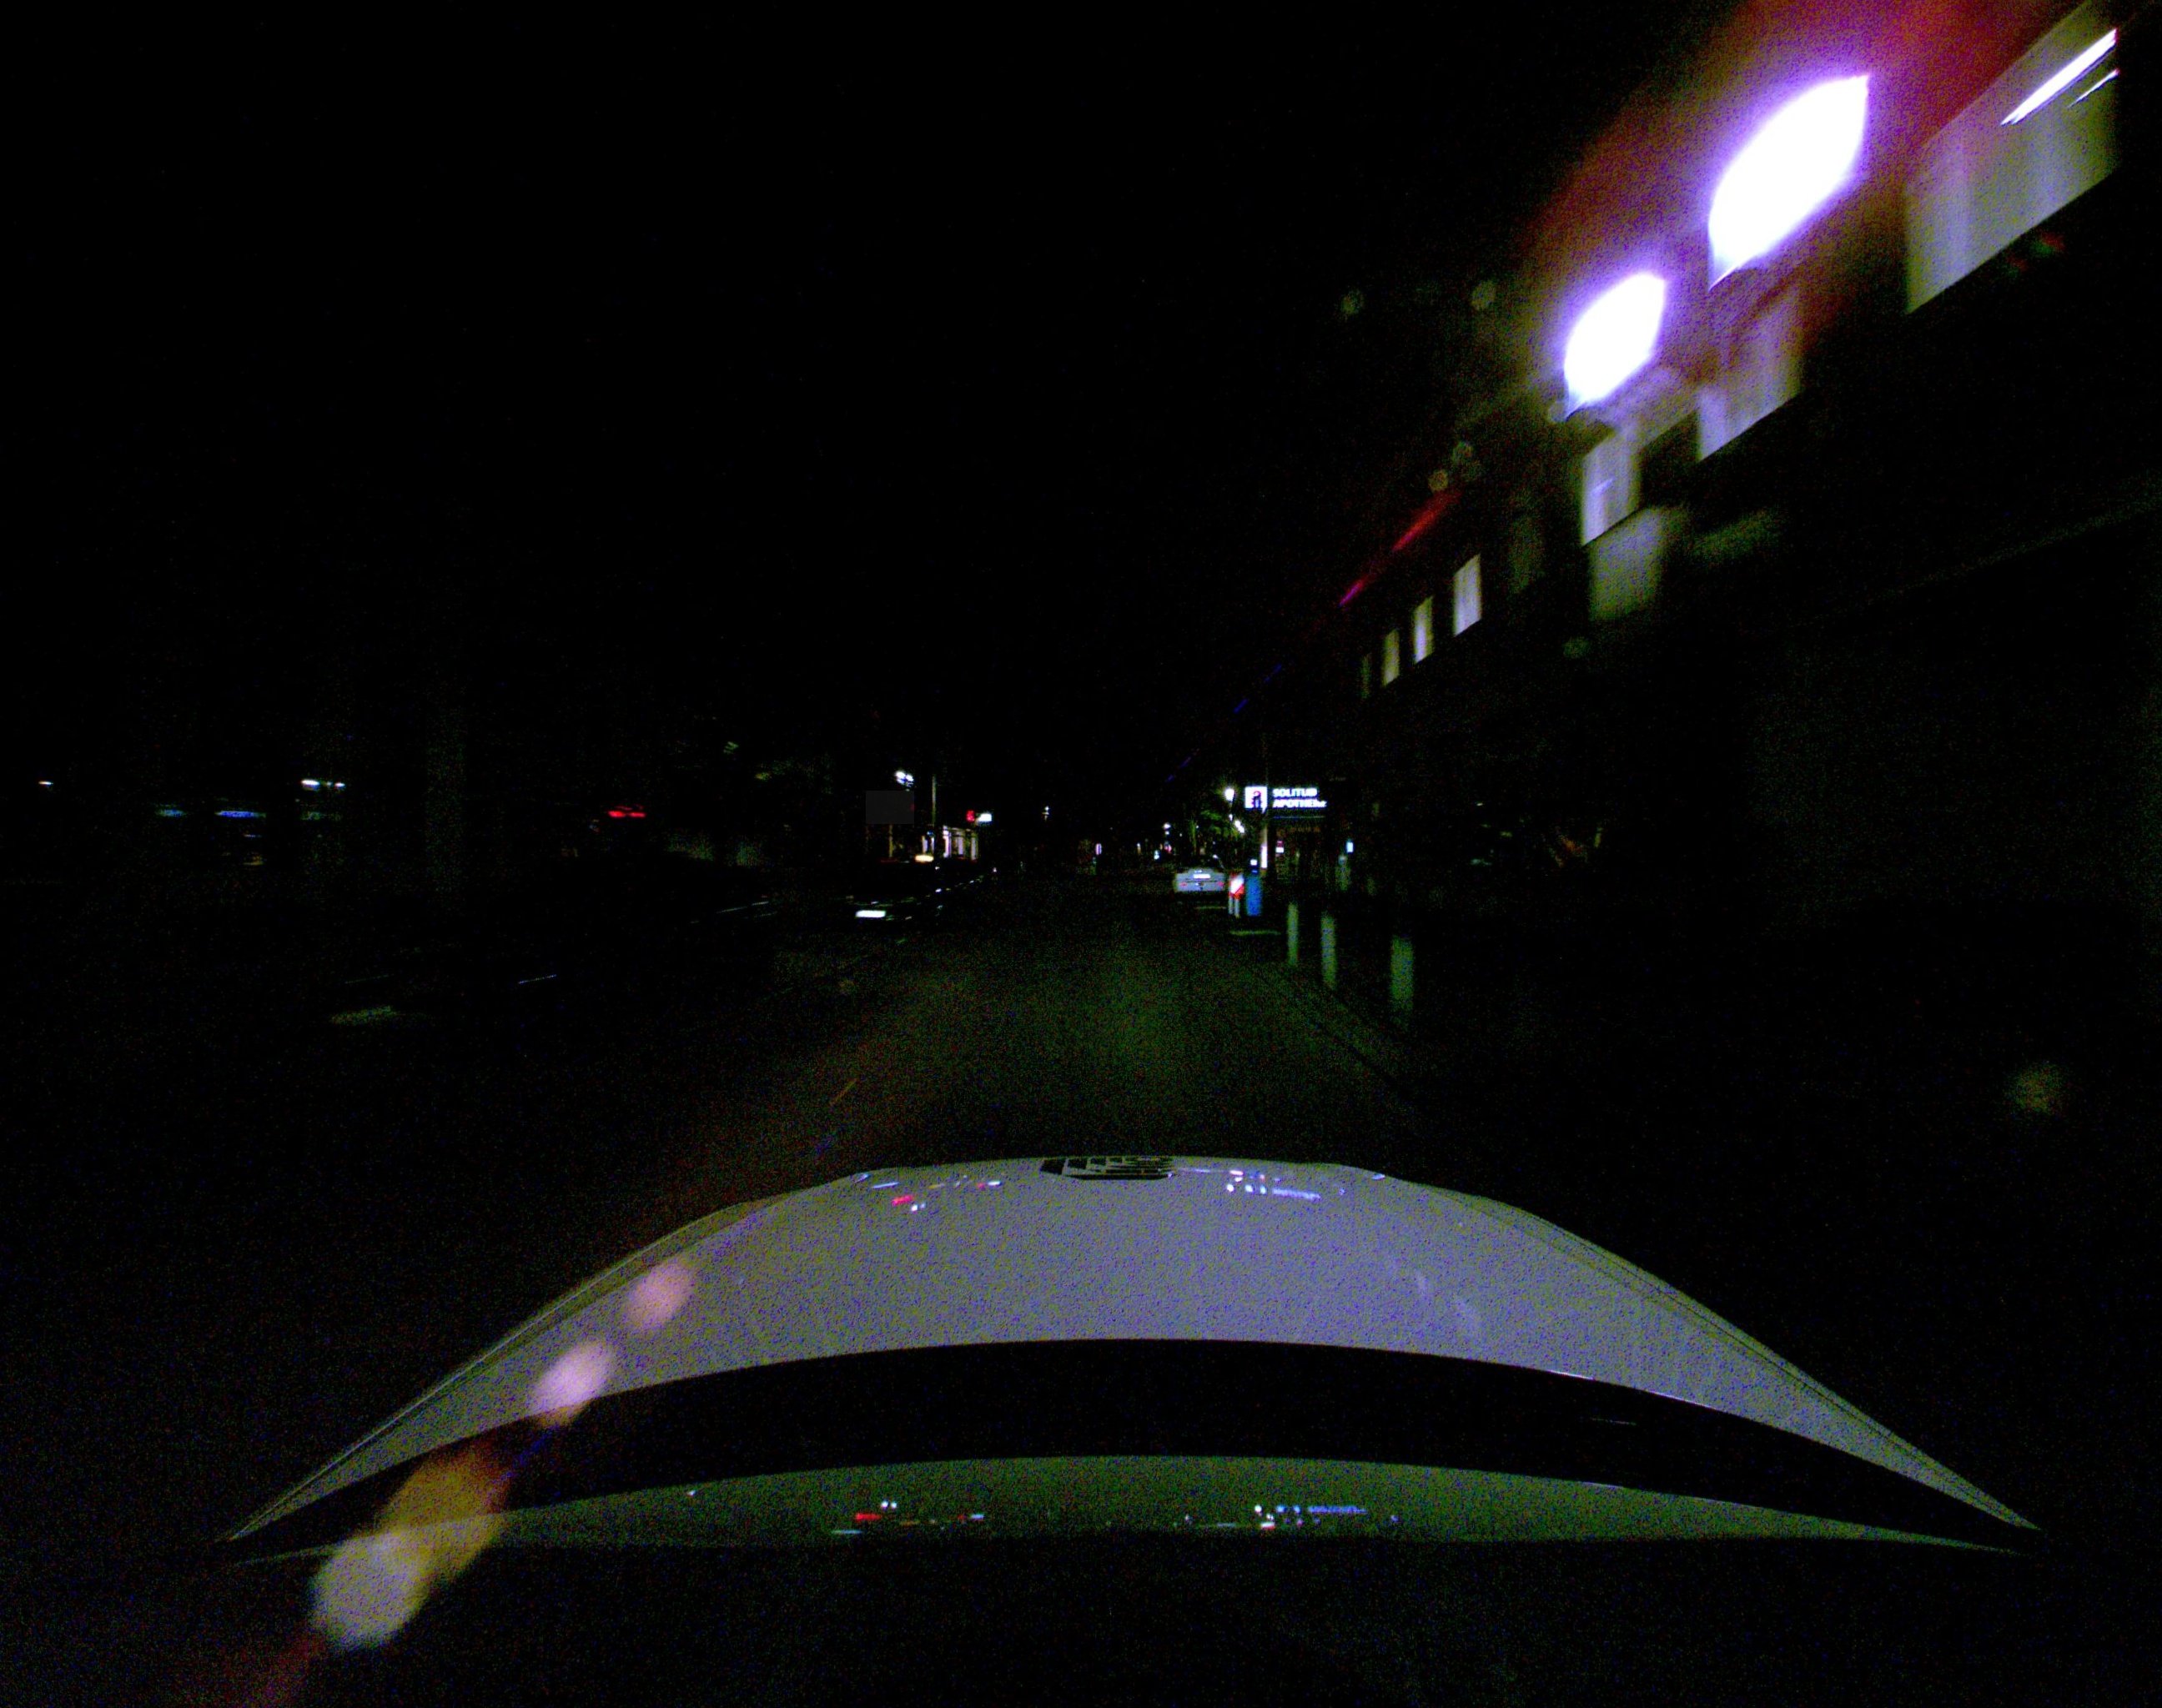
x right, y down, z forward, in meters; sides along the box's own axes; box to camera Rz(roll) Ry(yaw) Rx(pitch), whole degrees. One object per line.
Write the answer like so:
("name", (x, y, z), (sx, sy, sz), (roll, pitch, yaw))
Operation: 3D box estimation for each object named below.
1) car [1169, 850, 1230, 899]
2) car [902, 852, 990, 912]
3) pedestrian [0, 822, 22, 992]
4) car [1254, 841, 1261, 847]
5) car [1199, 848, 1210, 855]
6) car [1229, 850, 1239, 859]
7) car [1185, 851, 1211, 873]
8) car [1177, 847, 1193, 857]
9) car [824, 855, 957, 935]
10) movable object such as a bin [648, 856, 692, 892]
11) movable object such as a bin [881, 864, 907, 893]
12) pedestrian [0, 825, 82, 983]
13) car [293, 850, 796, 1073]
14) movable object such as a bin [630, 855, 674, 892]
("car", (3.926, 0.678, 27.600), (1.734, 1.487, 4.642), (-1, -1, 5))
("car", (-4.028, 0.768, 25.054), (1.752, 1.637, 4.816), (-1, 0, 1))
("pedestrian", (-11.887, 0.573, 8.760), (0.496, 1.822, 0.506), (-2, -1, 27))
("car", (51.480, -2.908, 237.265), (1.762, 1.652, 4.381), (-1, 1, 14))
("car", (28.488, -0.624, 187.378), (1.900, 1.370, 4.475), (-1, 1, 15))
("car", (25.880, 0.066, 137.761), (1.664, 1.459, 3.687), (-1, 0, 11))
("car", (8.167, 0.519, 56.999), (1.725, 1.440, 4.506), (-1, 0, 7))
("car", (17.204, -0.346, 134.344), (2.004, 1.691, 5.021), (0, 1, 13))
("car", (-4.144, 0.814, 18.530), (1.899, 1.542, 4.781), (0, 0, 0))
("movable object such as a bin", (-17.035, 0.834, 33.812), (1.126, 1.457, 1.229), (0, -1, 4))
("movable object such as a bin", (-7.098, 0.912, 30.902), (0.744, 1.065, 0.793), (-1, -1, 2))
("pedestrian", (-12.728, 0.570, 9.576), (0.785, 1.817, 1.029), (0, 0, 22))
("car", (-4.614, 0.764, 8.035), (1.763, 1.574, 4.487), (0, 0, 4))
("movable object such as a bin", (-17.105, 0.785, 32.509), (1.032, 1.444, 1.287), (0, -1, 4))
